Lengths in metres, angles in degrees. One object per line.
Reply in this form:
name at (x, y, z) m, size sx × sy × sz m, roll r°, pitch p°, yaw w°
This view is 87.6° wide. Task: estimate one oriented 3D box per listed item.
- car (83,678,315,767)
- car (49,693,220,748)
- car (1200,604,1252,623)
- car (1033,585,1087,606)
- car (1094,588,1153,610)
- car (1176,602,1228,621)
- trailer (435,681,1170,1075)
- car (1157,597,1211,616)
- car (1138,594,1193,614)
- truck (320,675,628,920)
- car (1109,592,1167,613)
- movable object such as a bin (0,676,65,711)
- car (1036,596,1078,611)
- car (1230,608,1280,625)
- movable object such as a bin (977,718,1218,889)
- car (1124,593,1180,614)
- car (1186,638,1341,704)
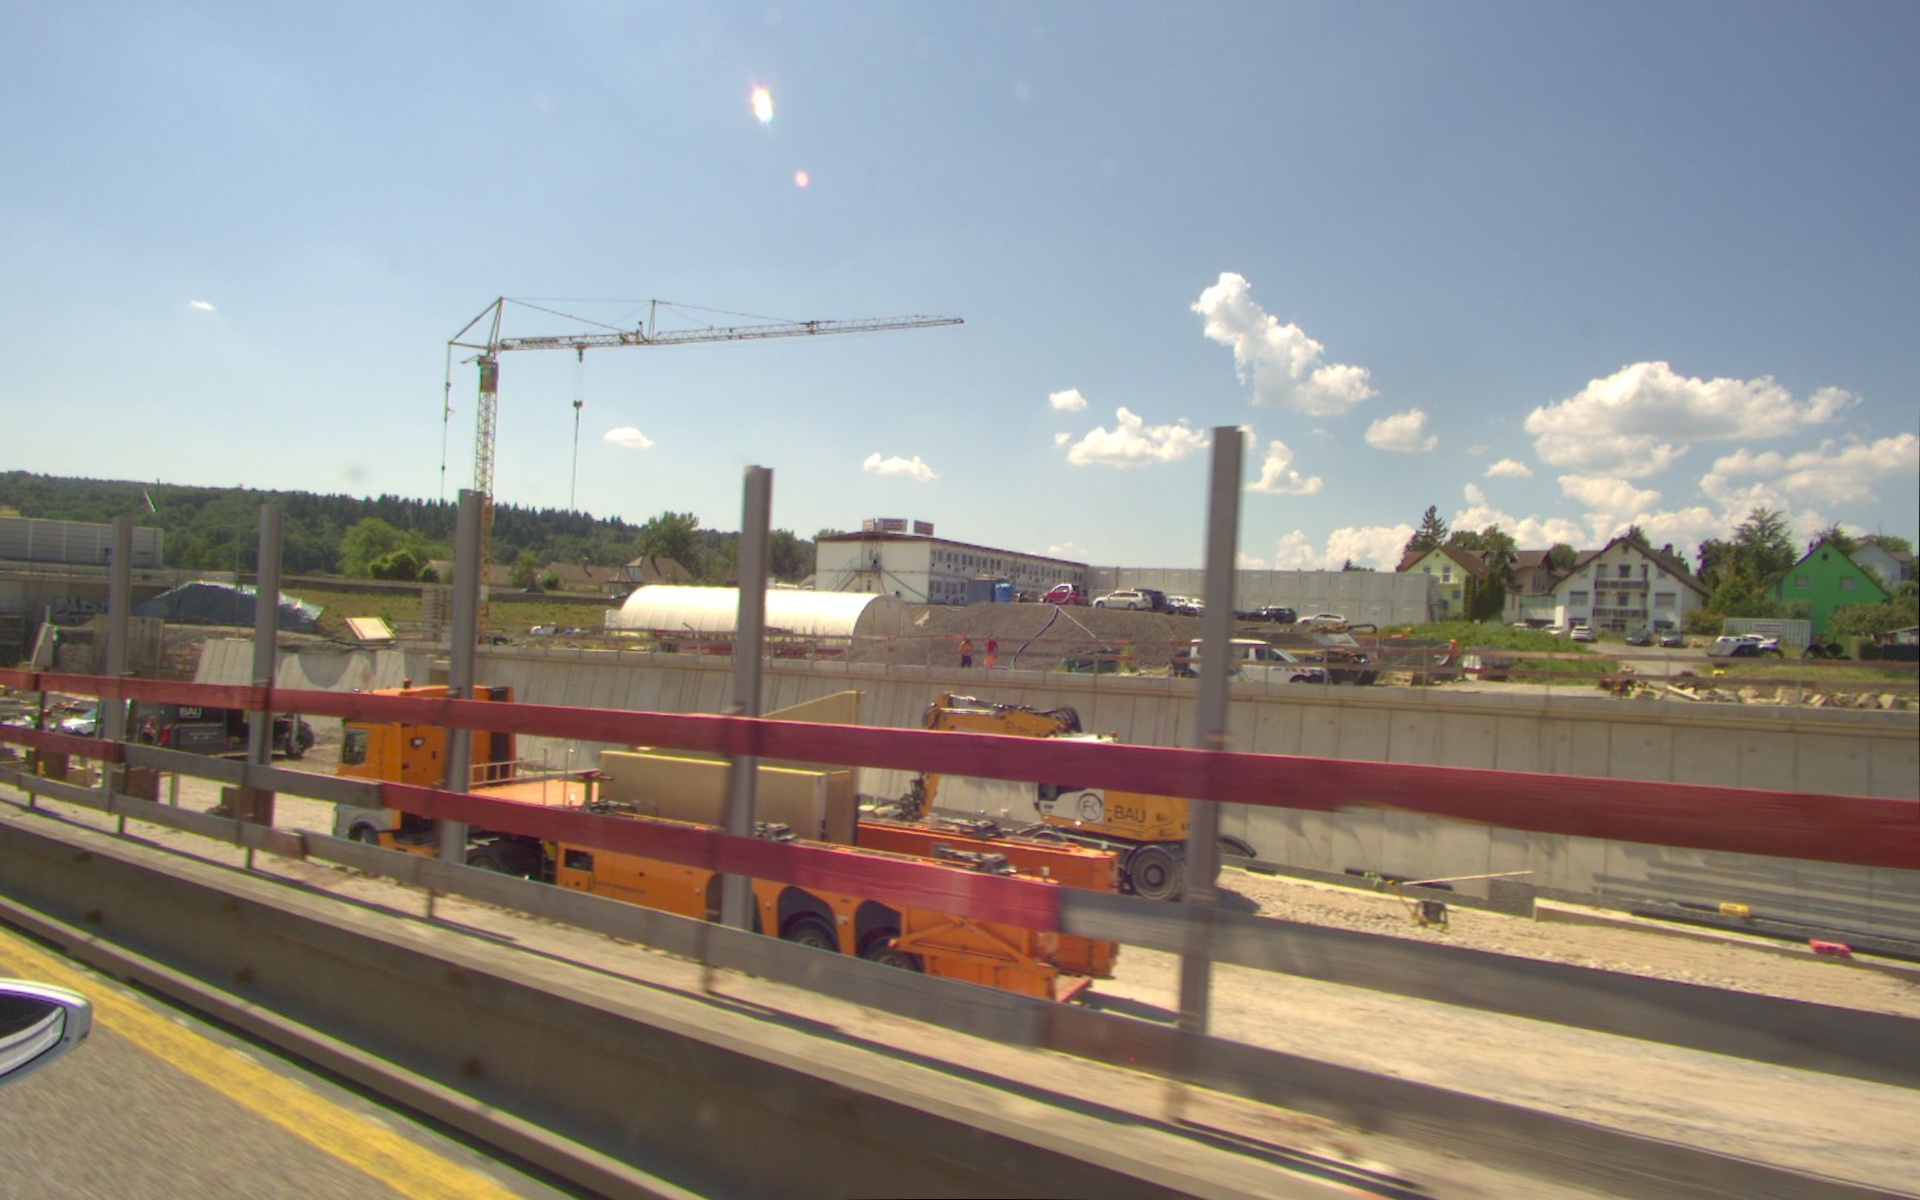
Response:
car at (-26.803, 4.227, 35.653) m, size 2.485 × 2.617 × 6.101 m, roll 2°, pitch -2°, yaw 20°
car at (-32.345, 4.667, 39.393) m, size 1.970 × 1.796 × 4.725 m, roll 2°, pitch -3°, yaw 31°
car at (22.977, 1.179, 86.620) m, size 4.015 × 1.537 × 1.679 m, roll 0°, pitch -2°, yaw 31°
car at (6.863, -0.304, 69.033) m, size 3.379 × 1.333 × 1.512 m, roll 0°, pitch -2°, yaw 31°
car at (12.175, -0.080, 74.811) m, size 4.015 × 1.537 × 1.679 m, roll 0°, pitch -2°, yaw 31°
car at (20.545, 0.997, 85.011) m, size 4.015 × 1.537 × 1.679 m, roll 0°, pitch -2°, yaw 31°
trailer at (-3.299, 3.557, 16.036) m, size 12.856 × 3.936 × 2.755 m, roll 0°, pitch -2°, yaw 31°
car at (18.576, 0.532, 82.999) m, size 4.015 × 1.537 × 1.711 m, roll 0°, pitch -2°, yaw 31°
car at (16.652, 0.354, 81.068) m, size 4.015 × 1.537 × 1.706 m, roll 0°, pitch -2°, yaw 31°
truck at (-9.702, 3.594, 19.914) m, size 5.795 × 3.936 × 2.755 m, roll 0°, pitch -2°, yaw 31°
car at (13.672, 0.221, 76.952) m, size 4.015 × 1.537 × 1.679 m, roll 0°, pitch -2°, yaw 31°
movable object such as a bin at (-46.181, 4.561, 49.081) m, size 3.058 × 1.583 × 1.548 m, roll 2°, pitch -2°, yaw -25°
car at (8.467, 0.320, 87.748) m, size 3.379 × 1.297 × 1.512 m, roll 0°, pitch -2°, yaw 31°
car at (26.493, 1.471, 89.949) m, size 4.015 × 1.537 × 1.679 m, roll 0°, pitch -2°, yaw 31°
movable object such as a bin at (3.026, 4.311, 22.164) m, size 4.751 × 3.061 × 2.278 m, roll -1°, pitch -4°, yaw 31°
car at (15.118, 0.292, 79.061) m, size 4.015 × 1.537 × 1.679 m, roll 0°, pitch -2°, yaw 31°
car at (10.241, 2.351, 33.910) m, size 4.751 × 2.039 × 1.804 m, roll 0°, pitch -2°, yaw 29°
